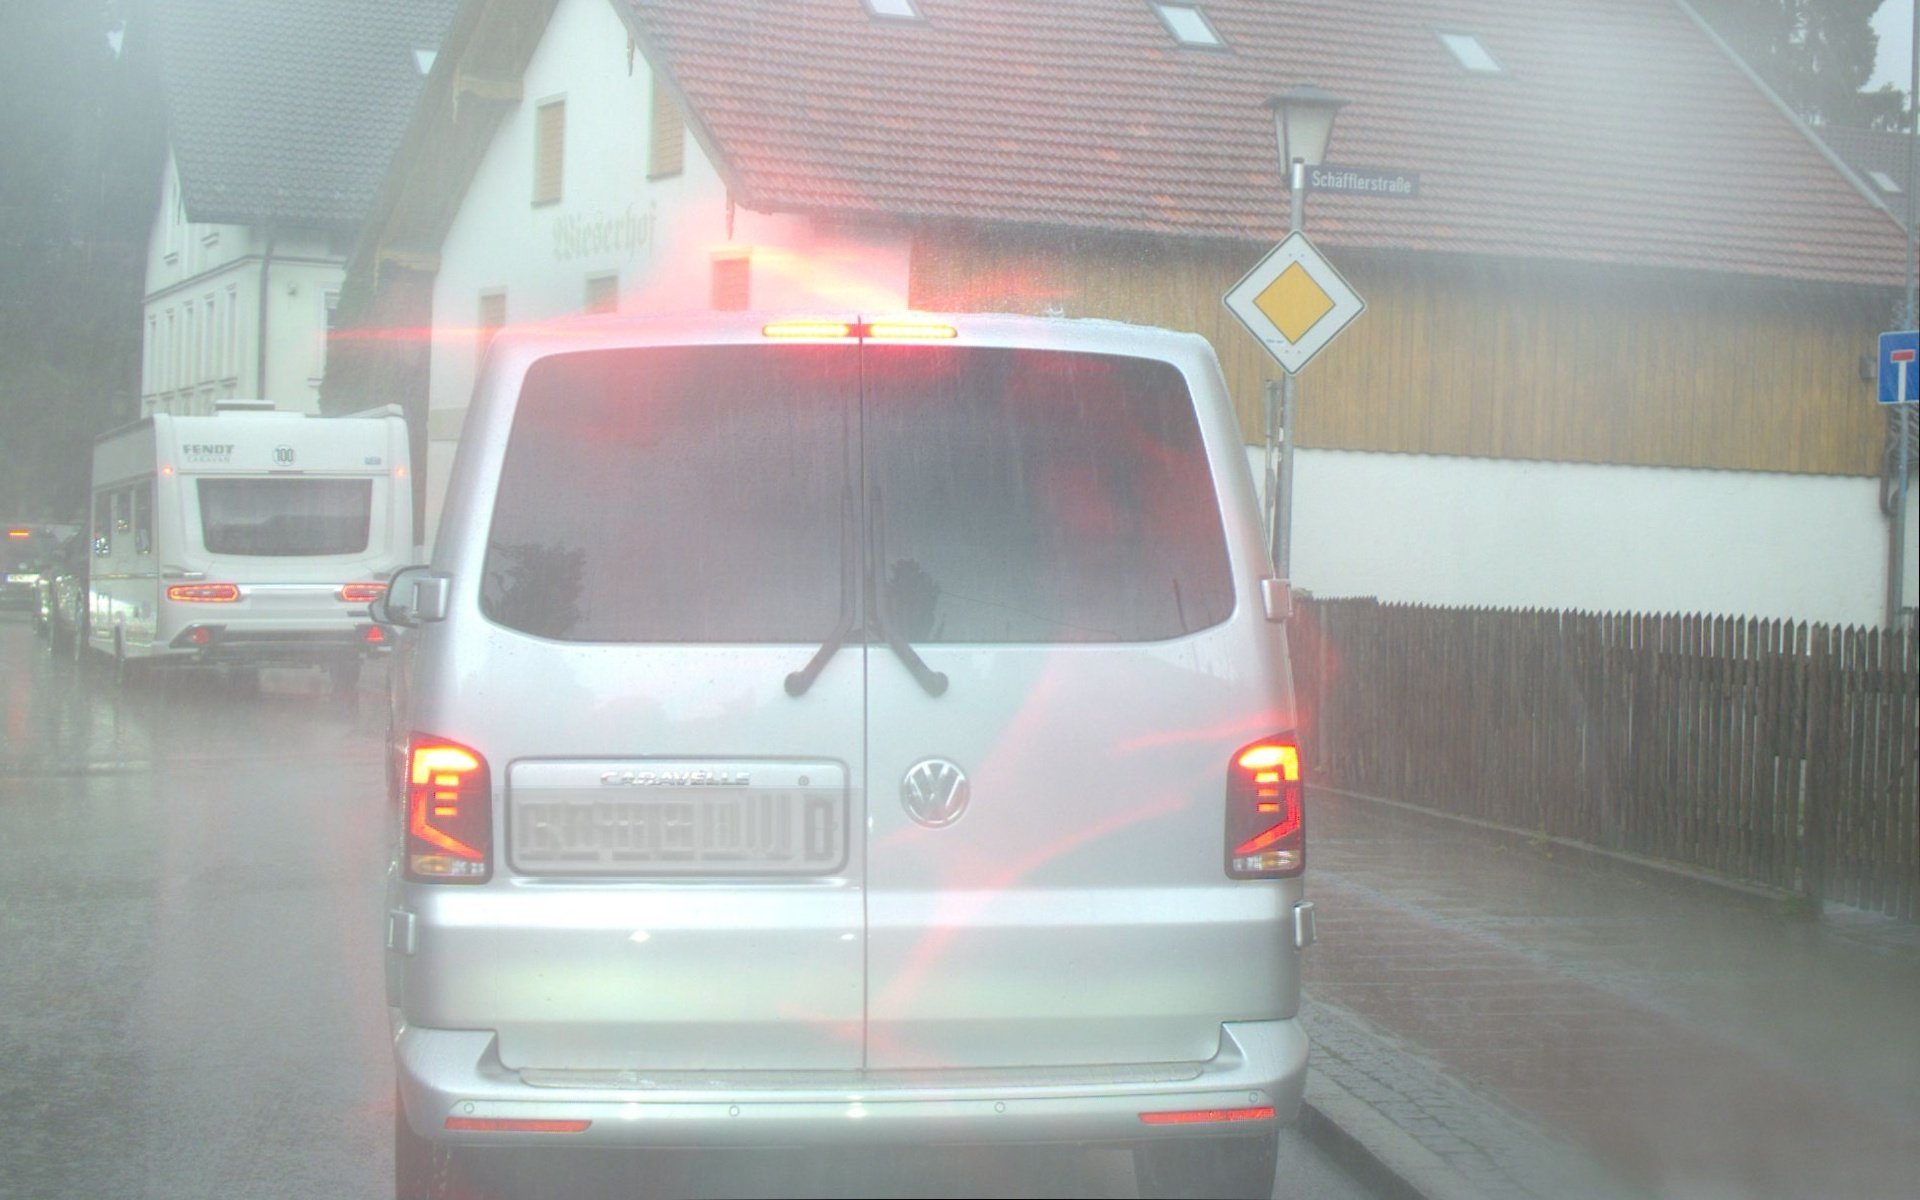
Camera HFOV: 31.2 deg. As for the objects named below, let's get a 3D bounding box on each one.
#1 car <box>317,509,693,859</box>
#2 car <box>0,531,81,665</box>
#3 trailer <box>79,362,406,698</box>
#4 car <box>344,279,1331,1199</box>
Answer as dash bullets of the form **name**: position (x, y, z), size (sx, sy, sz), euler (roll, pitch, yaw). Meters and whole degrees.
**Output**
- **car**: position (-2.402, 0.325, 18.371), size (1.708, 1.578, 4.687), euler (-1, 2, -7)
- **car**: position (-15.113, -0.101, 53.237), size (2.168, 1.892, 5.016), euler (2, 1, -22)
- **trailer**: position (-6.984, -0.648, 32.887), size (2.270, 2.894, 6.134), euler (0, 1, -19)
- **car**: position (-0.184, 0.366, 8.743), size (1.776, 1.956, 5.074), euler (0, 1, 1)
